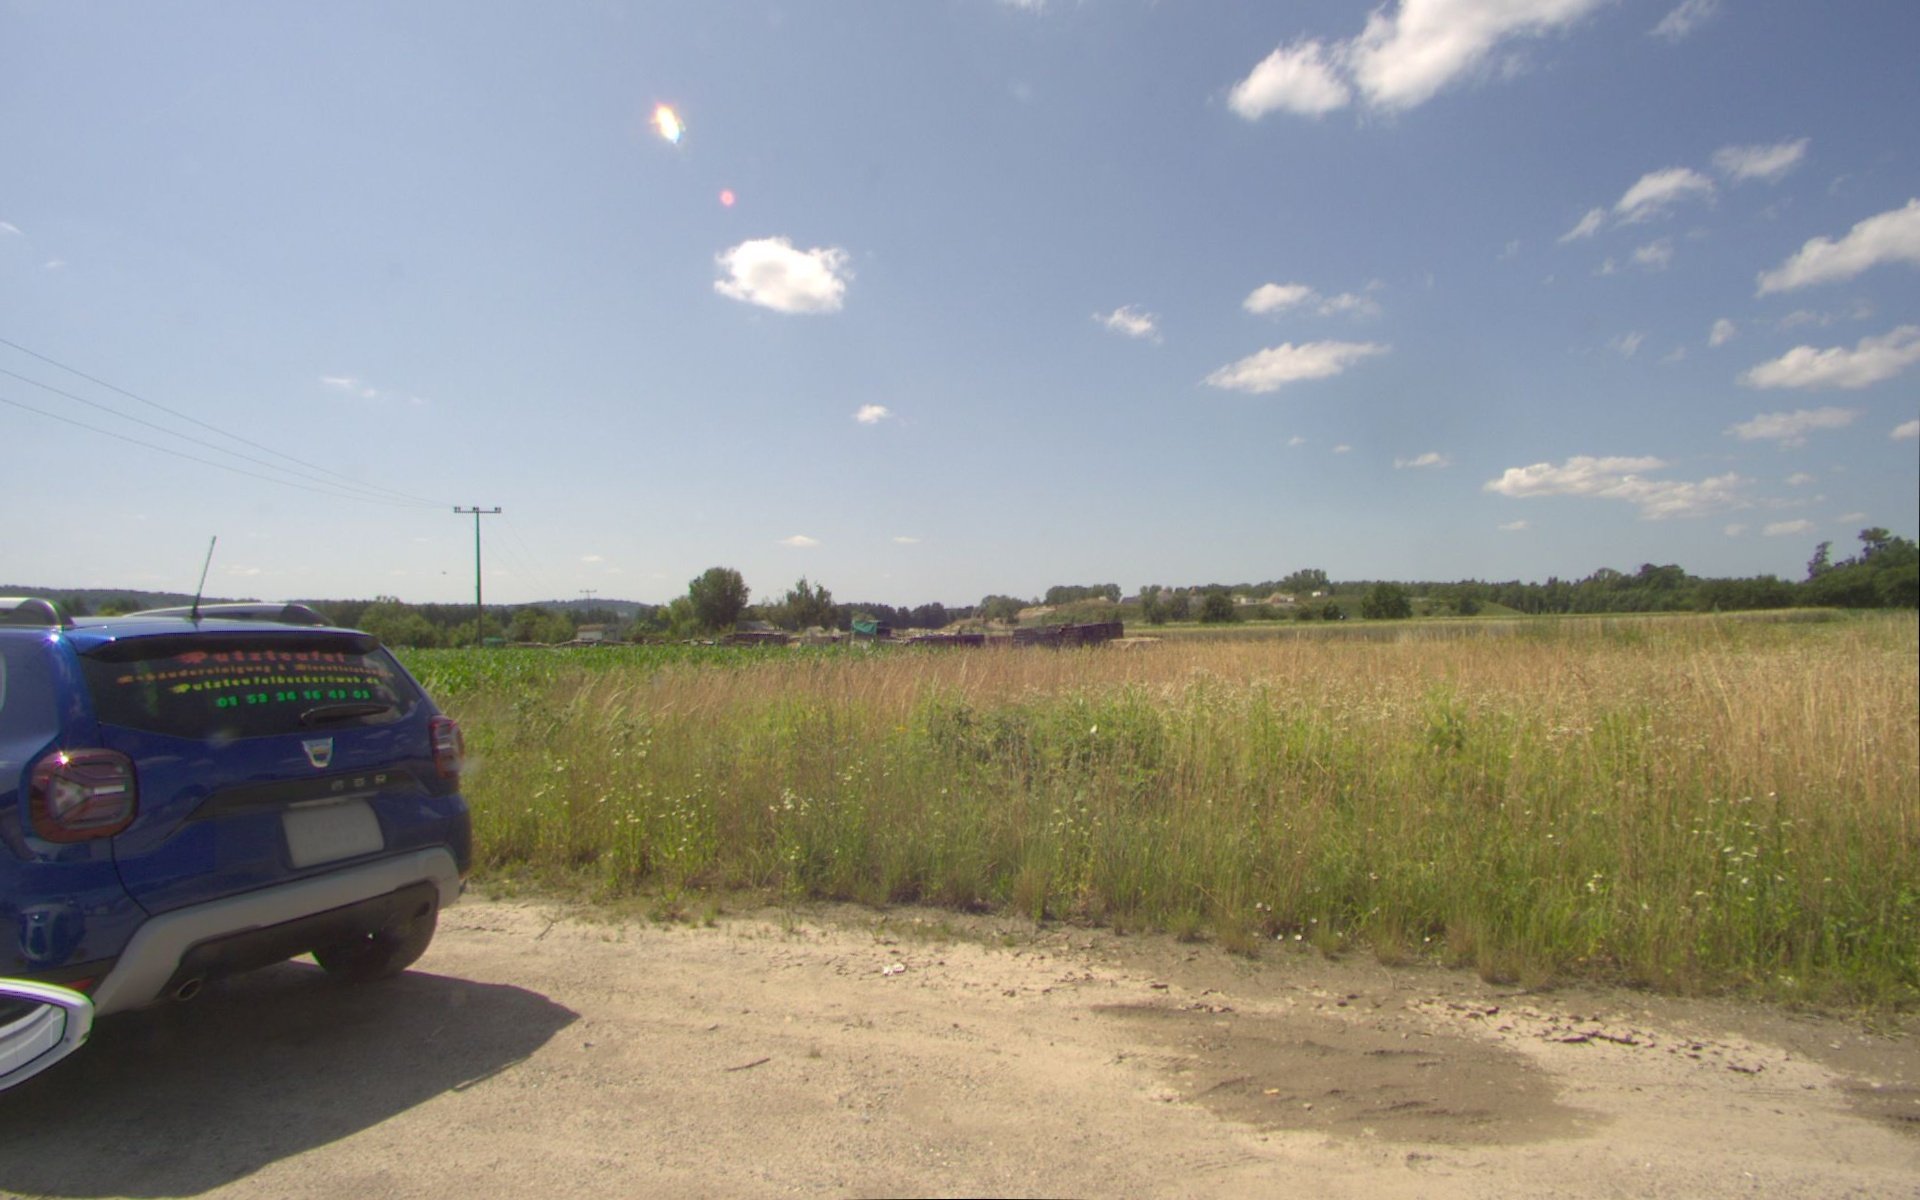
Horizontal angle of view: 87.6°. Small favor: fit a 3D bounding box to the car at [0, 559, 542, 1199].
[{"bbox_3d":[-4.208,0.858,4.290,4.382,1.681,1.861,-3,-2,21],"label":"car"}]
